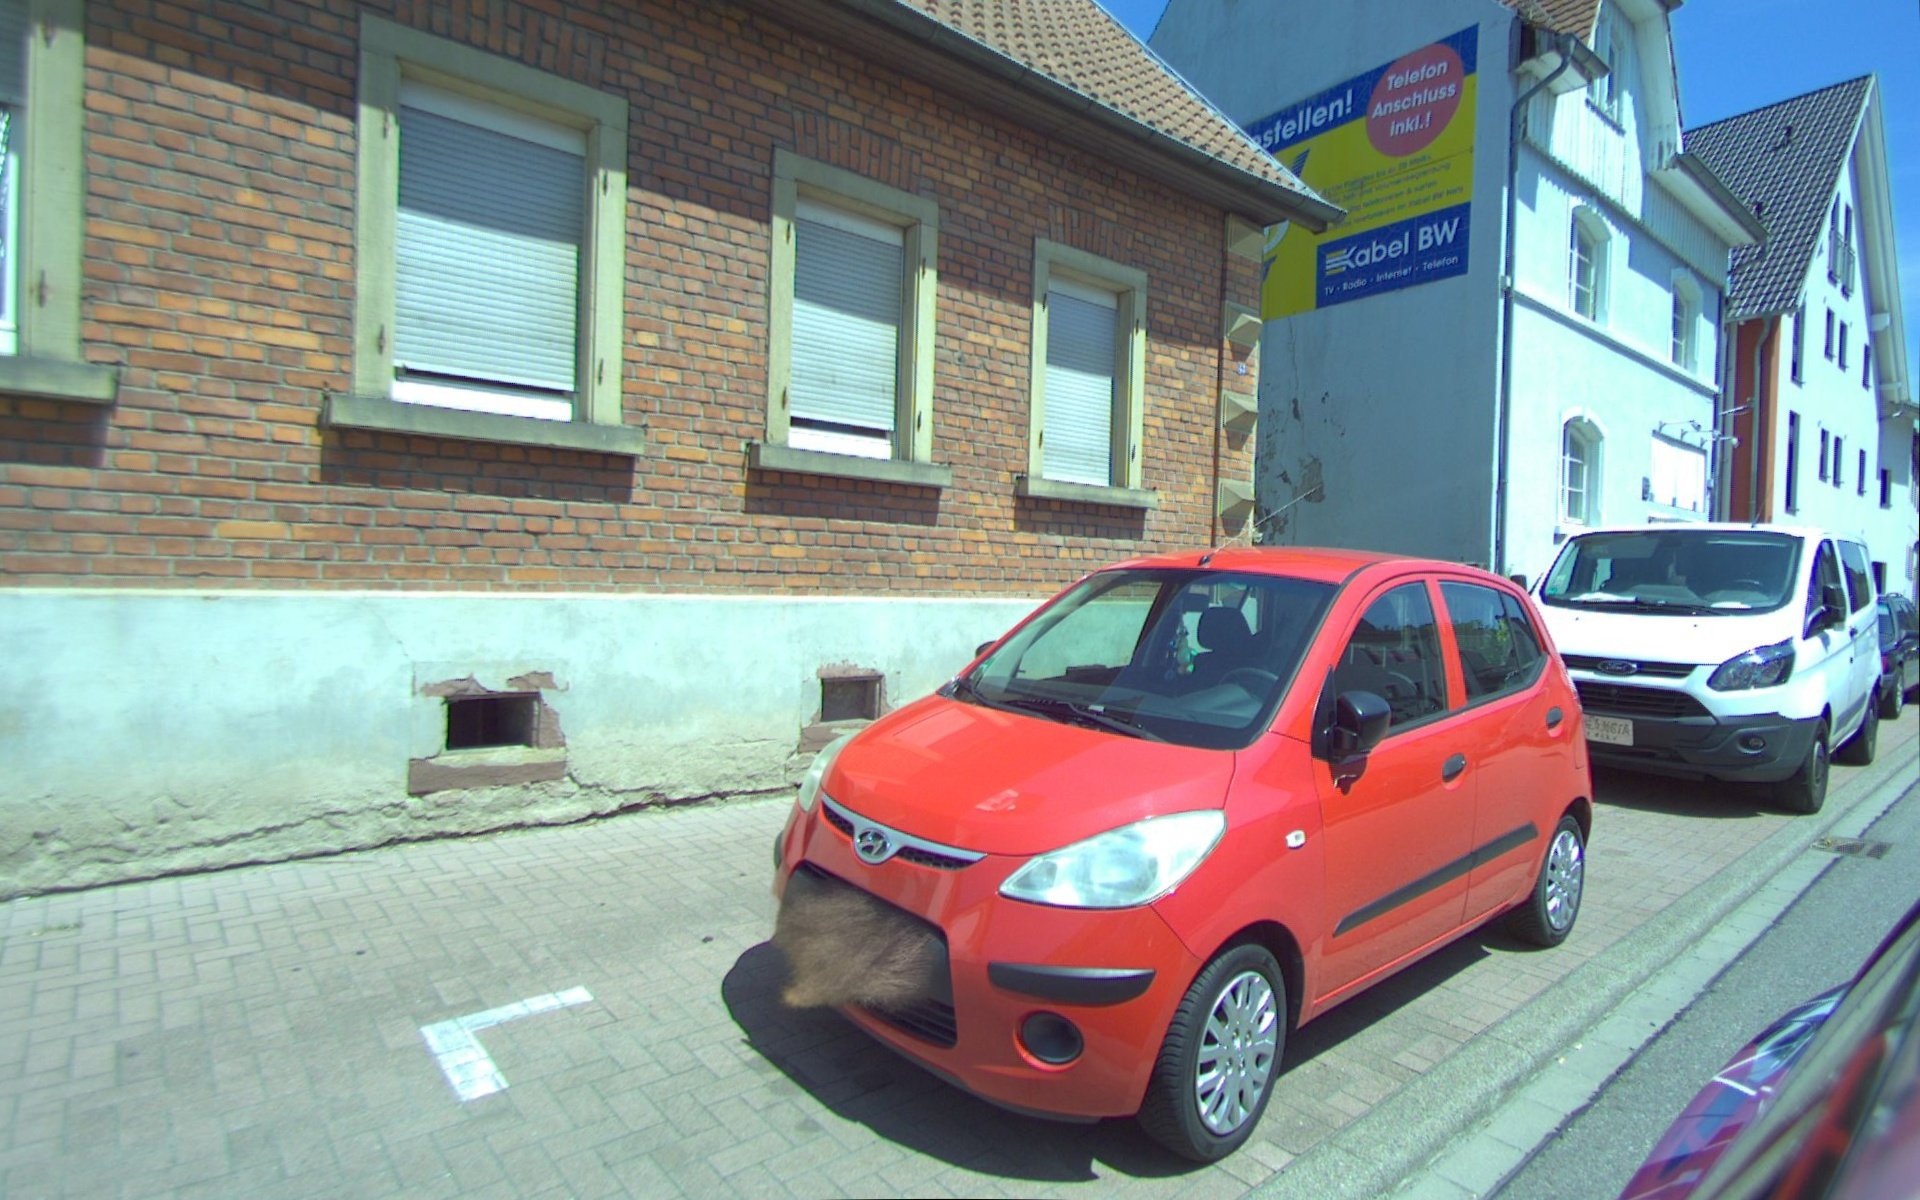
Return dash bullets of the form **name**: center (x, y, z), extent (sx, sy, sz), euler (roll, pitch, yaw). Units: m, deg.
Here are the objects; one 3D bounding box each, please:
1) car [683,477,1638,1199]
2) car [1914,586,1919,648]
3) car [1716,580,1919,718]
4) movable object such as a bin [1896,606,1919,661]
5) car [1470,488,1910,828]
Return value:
- **car**: center (1.018, 0.502, 3.773), extent (3.613, 1.547, 1.613), euler (0, 2, -42)
- **car**: center (25.225, 0.459, 25.104), extent (4.751, 1.464, 1.705), euler (0, 4, -41)
- **car**: center (11.677, 0.528, 13.349), extent (4.497, 1.484, 1.774), euler (0, 2, -41)
- **movable object such as a bin**: center (19.486, 0.674, 20.348), extent (0.818, 1.073, 0.658), euler (1, 3, -24)
- **car**: center (6.139, 0.299, 8.254), extent (4.703, 1.994, 1.949), euler (0, 2, -42)
